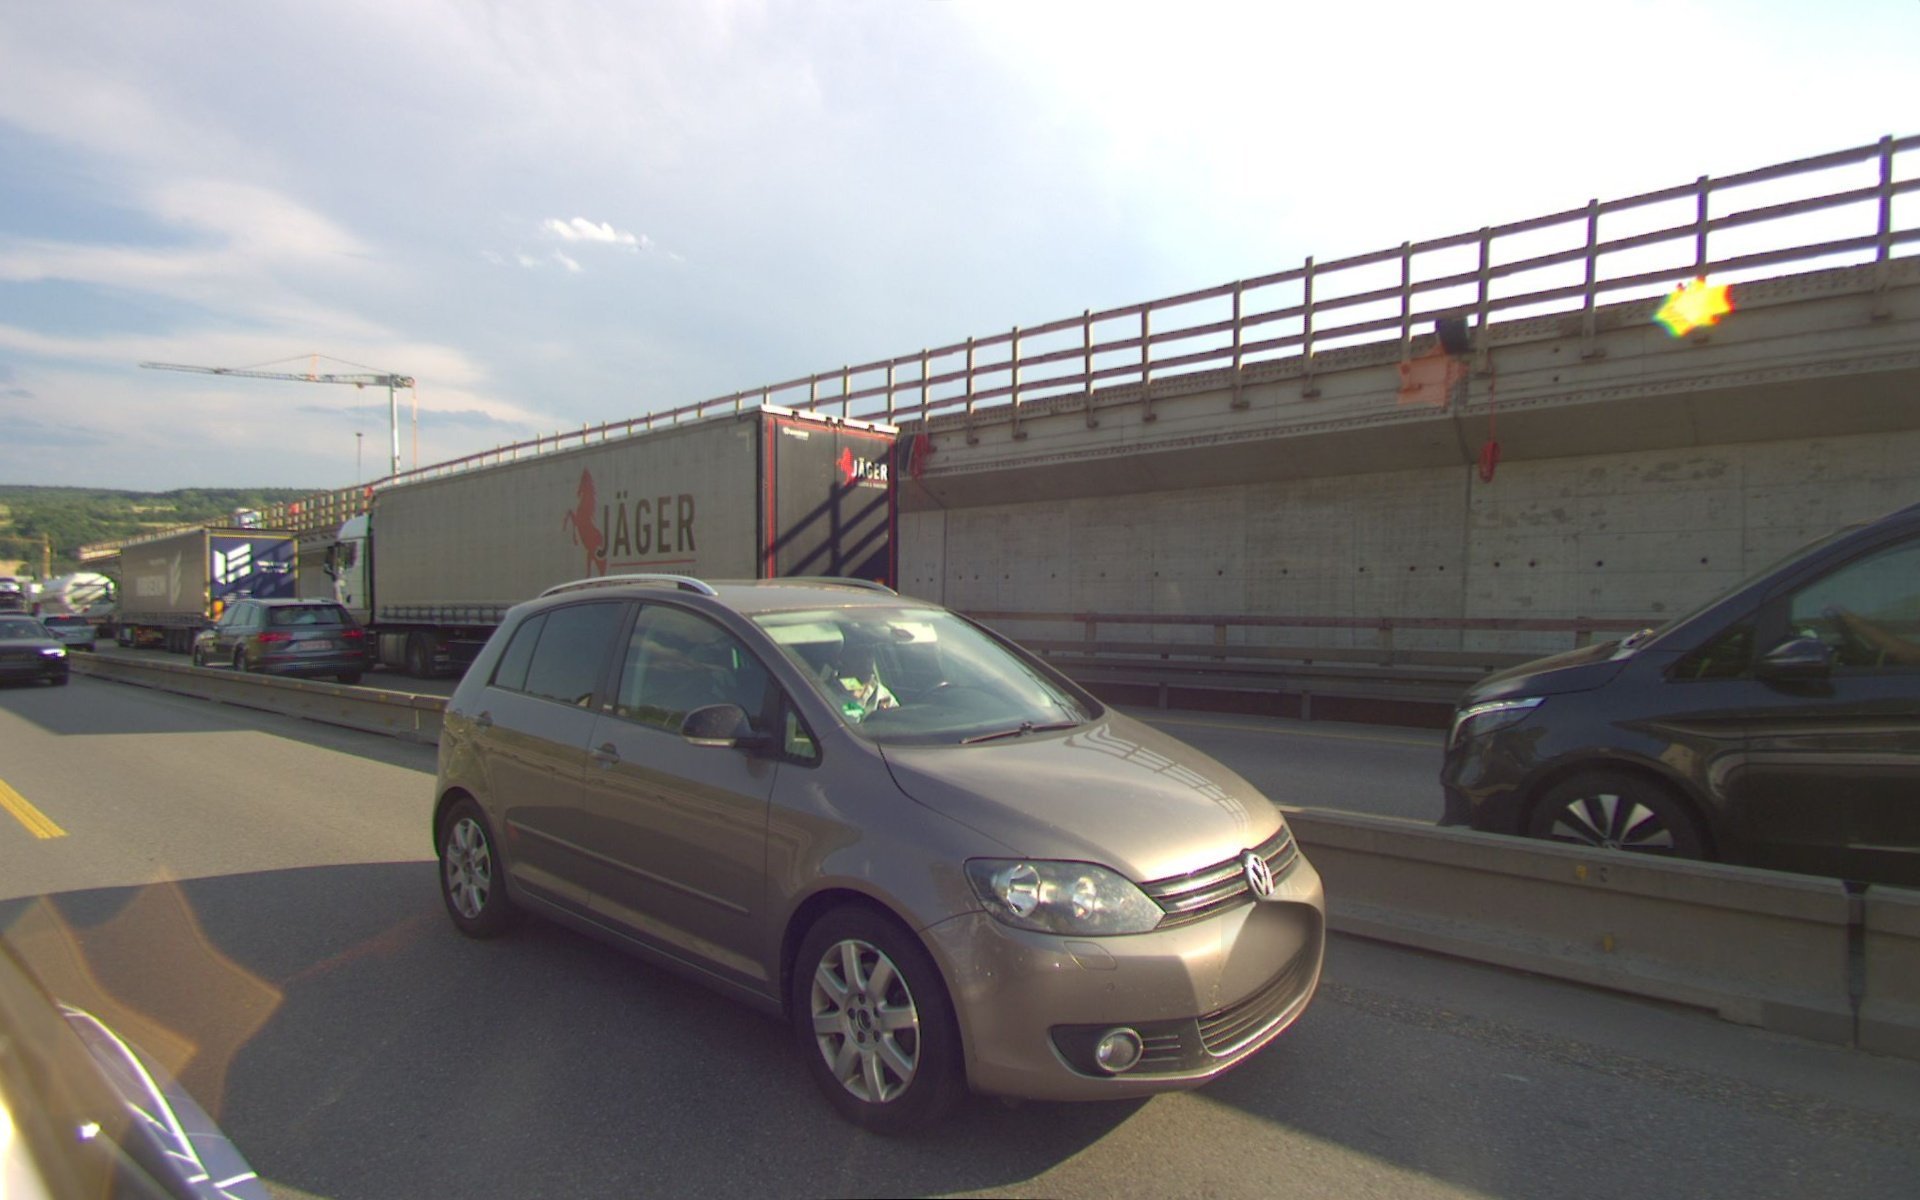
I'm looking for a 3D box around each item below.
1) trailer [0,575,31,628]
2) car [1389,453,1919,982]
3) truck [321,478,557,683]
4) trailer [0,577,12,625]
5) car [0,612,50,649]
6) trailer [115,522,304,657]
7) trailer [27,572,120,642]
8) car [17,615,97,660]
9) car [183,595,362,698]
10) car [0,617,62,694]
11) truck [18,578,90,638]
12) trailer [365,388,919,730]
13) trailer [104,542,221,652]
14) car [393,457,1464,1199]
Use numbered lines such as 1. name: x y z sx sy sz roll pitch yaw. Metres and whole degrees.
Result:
1. trailer: -78.066 0.104 81.853 15.758 4.061 2.742 0 1 42
2. car: 4.731 0.400 3.933 5.287 1.937 1.965 -1 1 41
3. truck: -11.869 -0.394 22.876 5.655 4.038 2.831 0 1 41
4. trailer: -83.649 0.101 86.806 7.205 4.061 2.742 0 1 42
5. car: -46.001 1.449 49.508 4.686 1.657 1.624 0 1 41
6. trailer: -27.659 -0.192 36.843 14.020 4.173 2.735 -2 0 42
7. trailer: -48.950 0.355 55.763 10.678 3.553 2.530 0 1 42
8. car: -33.338 1.341 37.312 4.594 1.470 1.624 0 1 41
9. car: -13.775 0.812 20.131 5.139 1.785 1.802 0 1 42
10. car: -20.117 1.096 20.898 4.347 1.430 1.849 0 0 41
11. truck: -53.764 0.439 60.018 5.529 3.435 2.522 0 1 41
12. trailer: -6.704 -0.533 18.324 13.763 4.272 2.883 0 1 42
13. trailer: -32.636 -0.079 41.332 5.974 4.173 2.735 -2 0 42
14. car: -0.533 0.600 4.043 4.269 1.601 1.663 -2 -3 41
